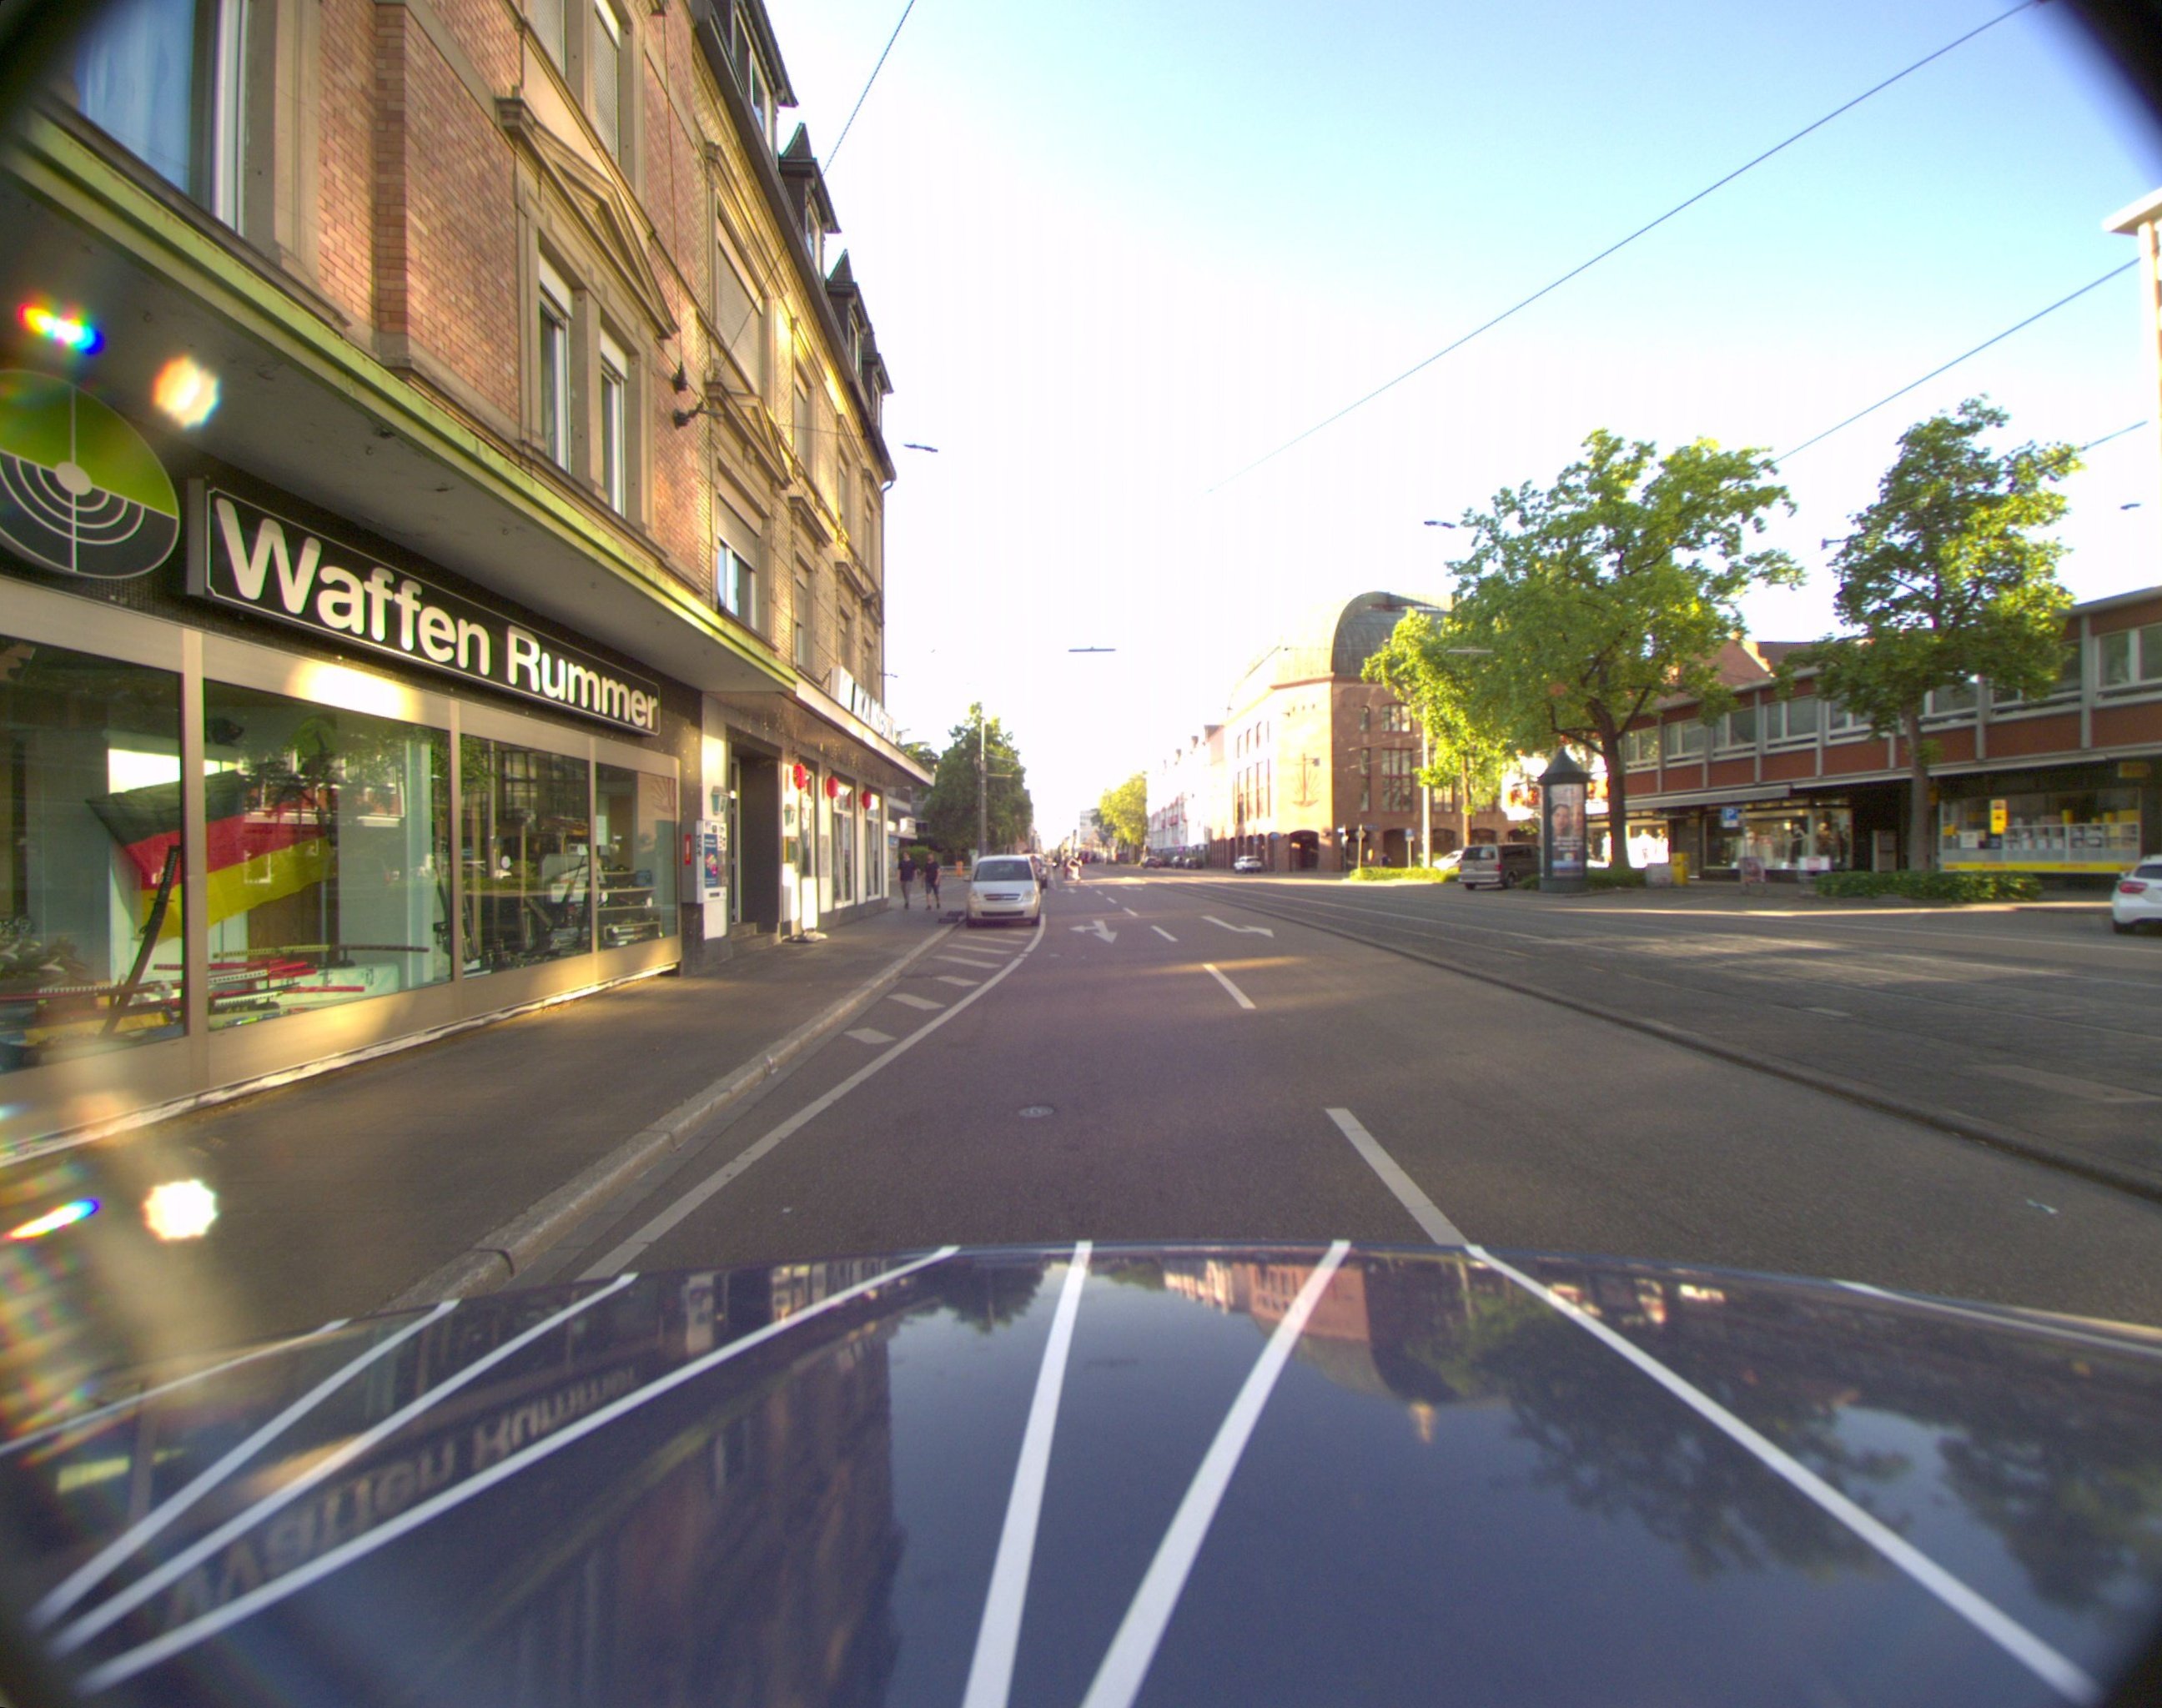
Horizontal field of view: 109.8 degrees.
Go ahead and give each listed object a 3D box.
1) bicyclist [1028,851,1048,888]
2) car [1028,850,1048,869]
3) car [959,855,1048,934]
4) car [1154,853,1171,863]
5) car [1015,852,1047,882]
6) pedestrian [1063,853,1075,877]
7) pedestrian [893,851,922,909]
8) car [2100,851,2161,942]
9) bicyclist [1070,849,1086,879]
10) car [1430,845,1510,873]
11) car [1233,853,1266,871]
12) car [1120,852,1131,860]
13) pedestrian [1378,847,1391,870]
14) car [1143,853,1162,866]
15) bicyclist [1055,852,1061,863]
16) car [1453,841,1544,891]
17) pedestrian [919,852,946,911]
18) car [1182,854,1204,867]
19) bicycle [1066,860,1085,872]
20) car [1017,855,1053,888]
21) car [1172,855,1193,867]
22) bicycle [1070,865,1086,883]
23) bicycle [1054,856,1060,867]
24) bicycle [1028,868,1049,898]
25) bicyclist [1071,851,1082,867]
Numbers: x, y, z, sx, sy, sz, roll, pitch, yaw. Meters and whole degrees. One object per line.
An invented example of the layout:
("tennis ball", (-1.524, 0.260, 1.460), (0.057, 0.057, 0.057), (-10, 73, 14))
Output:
("bicyclist", (-1.734, 0.602, 30.575), (0.682, 1.434, 0.944), (-2, 1, 1))
("car", (-3.927, 0.507, 69.964), (1.671, 1.674, 4.000), (-1, 0, -1))
("car", (-1.754, 0.867, 18.387), (1.671, 1.674, 4.000), (-1, 0, 1))
("car", (13.200, 0.593, 122.883), (1.965, 1.594, 3.998), (-2, 0, -4))
("car", (-2.946, 0.746, 45.708), (1.671, 1.674, 4.000), (-1, 0, -1))
("pedestrian", (-0.836, 0.759, 53.078), (0.849, 1.652, 0.850), (-1, 1, 1))
("pedestrian", (-5.232, 0.773, 22.984), (0.701, 1.713, 0.681), (1, 1, -1))
("car", (20.529, 0.733, 14.049), (4.006, 1.466, 1.793), (-2, 1, -34))
("bicyclist", (-0.183, 0.571, 43.453), (0.886, 1.650, 0.803), (0, 1, 1))
("car", (28.622, 0.338, 55.974), (4.985, 2.002, 1.999), (0, 0, -4))
("car", (15.628, 0.714, 70.580), (1.911, 1.594, 3.998), (-2, 0, -4))
("car", (9.666, 0.495, 165.137), (1.965, 1.594, 3.998), (-2, 0, -4))
("pedestrian", (22.889, 0.350, 57.329), (0.790, 1.737, 0.548), (0, 1, 1))
("car", (9.639, 0.733, 102.597), (1.965, 1.594, 3.998), (-2, 0, -4))
("bicyclist", (-2.704, 0.395, 88.093), (0.646, 1.176, 0.722), (0, 0, -5))
("car", (18.049, 0.468, 32.784), (4.007, 1.952, 1.906), (-2, 1, -37))
("pedestrian", (-4.441, 0.816, 22.761), (0.701, 1.713, 0.502), (1, 1, -1))
("car", (14.367, 0.831, 97.622), (1.965, 1.594, 3.998), (-2, 0, -4))
("bicycle", (-0.554, 1.068, 70.628), (0.674, 1.085, 2.033), (-1, 0, -37))
("car", (-2.416, 0.887, 40.292), (1.671, 1.674, 4.000), (-1, 0, -1))
("car", (13.876, 0.908, 104.041), (1.965, 1.594, 3.998), (-2, 0, -4))
("bicycle", (-0.180, 1.132, 43.490), (0.886, 0.949, 1.765), (0, 0, 1))
("bicycle", (-2.788, 0.881, 88.413), (0.646, 1.176, 1.804), (0, 0, -5))
("bicycle", (-1.708, 1.149, 30.662), (0.682, 1.081, 1.752), (-2, 1, 1))
("bicyclist", (-0.420, 0.470, 70.476), (0.674, 1.414, 0.762), (-1, 1, -37))
